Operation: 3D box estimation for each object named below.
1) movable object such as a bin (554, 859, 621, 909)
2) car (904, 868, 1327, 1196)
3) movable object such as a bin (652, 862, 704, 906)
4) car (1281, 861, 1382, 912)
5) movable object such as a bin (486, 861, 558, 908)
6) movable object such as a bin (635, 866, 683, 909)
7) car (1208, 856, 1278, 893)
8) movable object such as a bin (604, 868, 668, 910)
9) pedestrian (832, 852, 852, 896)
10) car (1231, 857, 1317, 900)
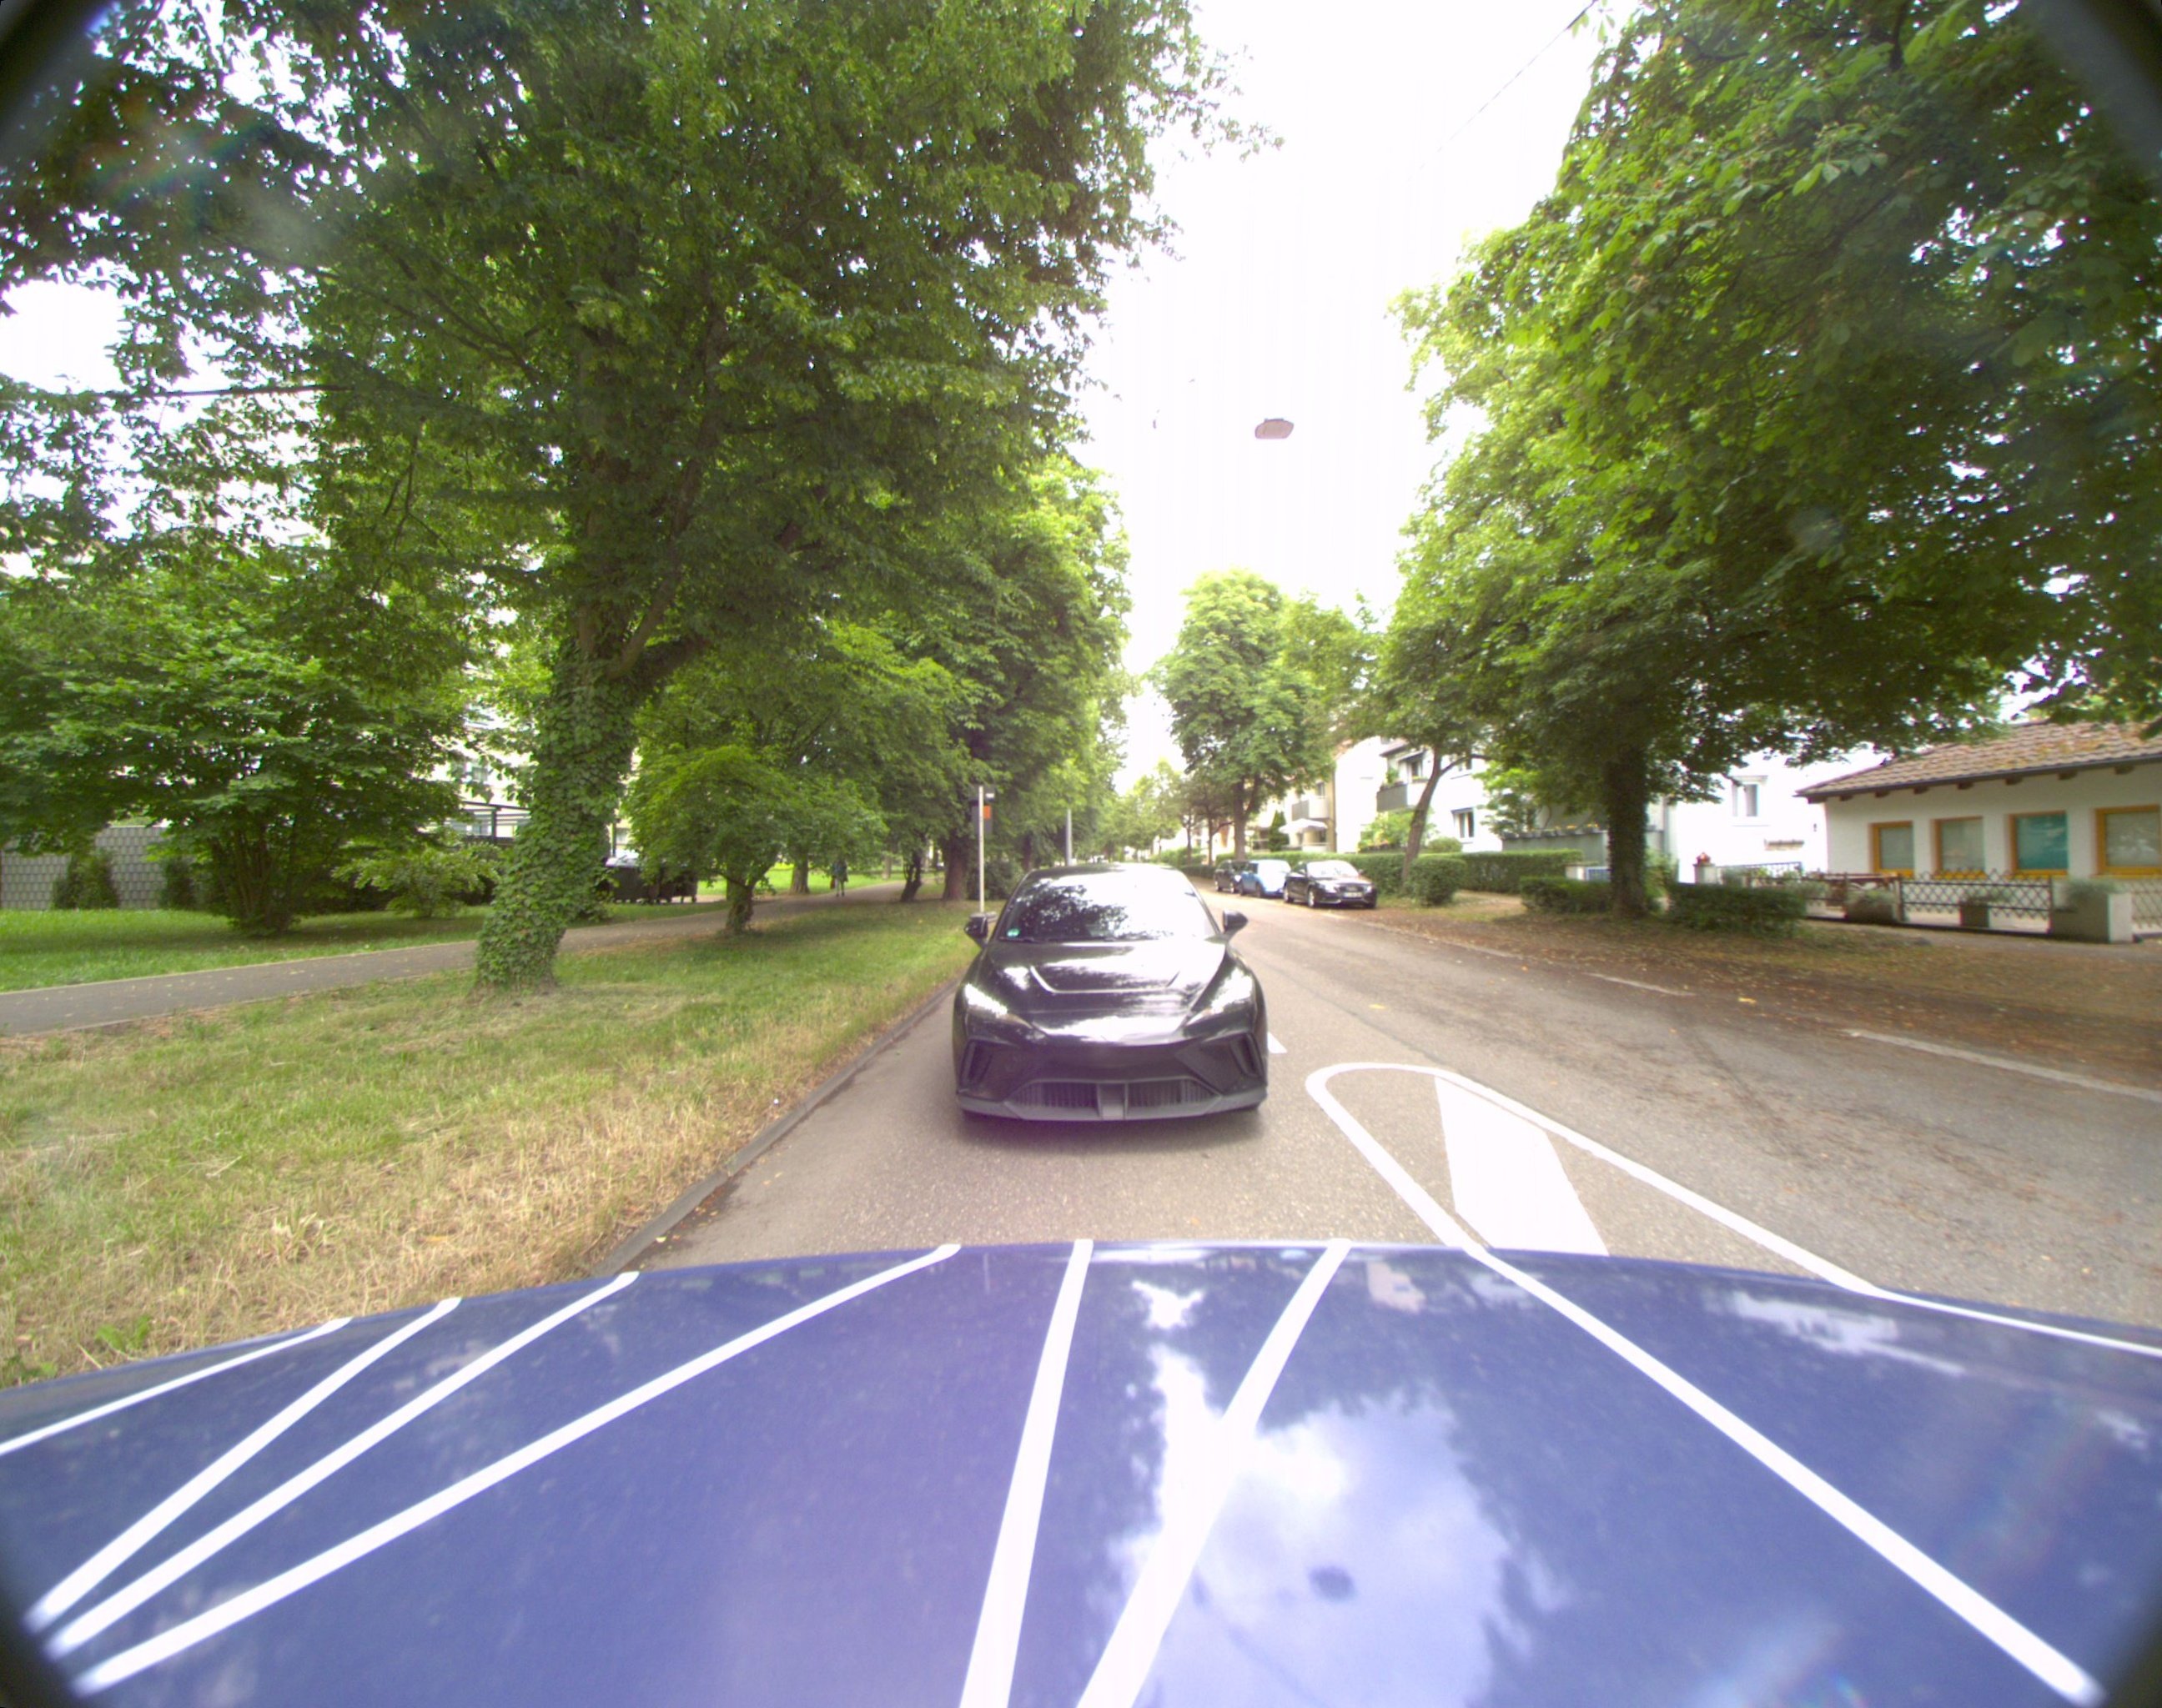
[{"bbox_3d":[-14.572,0.866,22.497,1.194,1.448,1.348,0,0,-8],"label":"movable object such as a bin"},{"bbox_3d":[0.187,0.891,5.910,1.998,1.491,4.615,0,0,1],"label":"car"},{"bbox_3d":[-13.243,0.982,24.982,1.194,1.405,1.110,0,0,-8],"label":"movable object such as a bin"},{"bbox_3d":[7.406,0.911,22.889,1.735,1.394,4.172,0,0,1],"label":"car"},{"bbox_3d":[-16.514,0.890,22.495,1.194,1.334,1.348,0,0,-8],"label":"movable object such as a bin"},{"bbox_3d":[-13.240,1.042,23.889,1.026,1.296,0.960,0,0,-8],"label":"movable object such as a bin"},{"bbox_3d":[7.076,0.877,33.664,1.889,1.524,4.565,0,0,-3],"label":"car"},{"bbox_3d":[-13.256,1.023,22.690,1.194,1.213,1.348,0,0,-8],"label":"movable object such as a bin"},{"bbox_3d":[-9.416,0.792,29.975,0.565,1.730,0.570,1,0,0],"label":"pedestrian"},{"bbox_3d":[7.206,0.875,28.911,1.889,1.492,4.565,0,0,-3],"label":"car"}]
